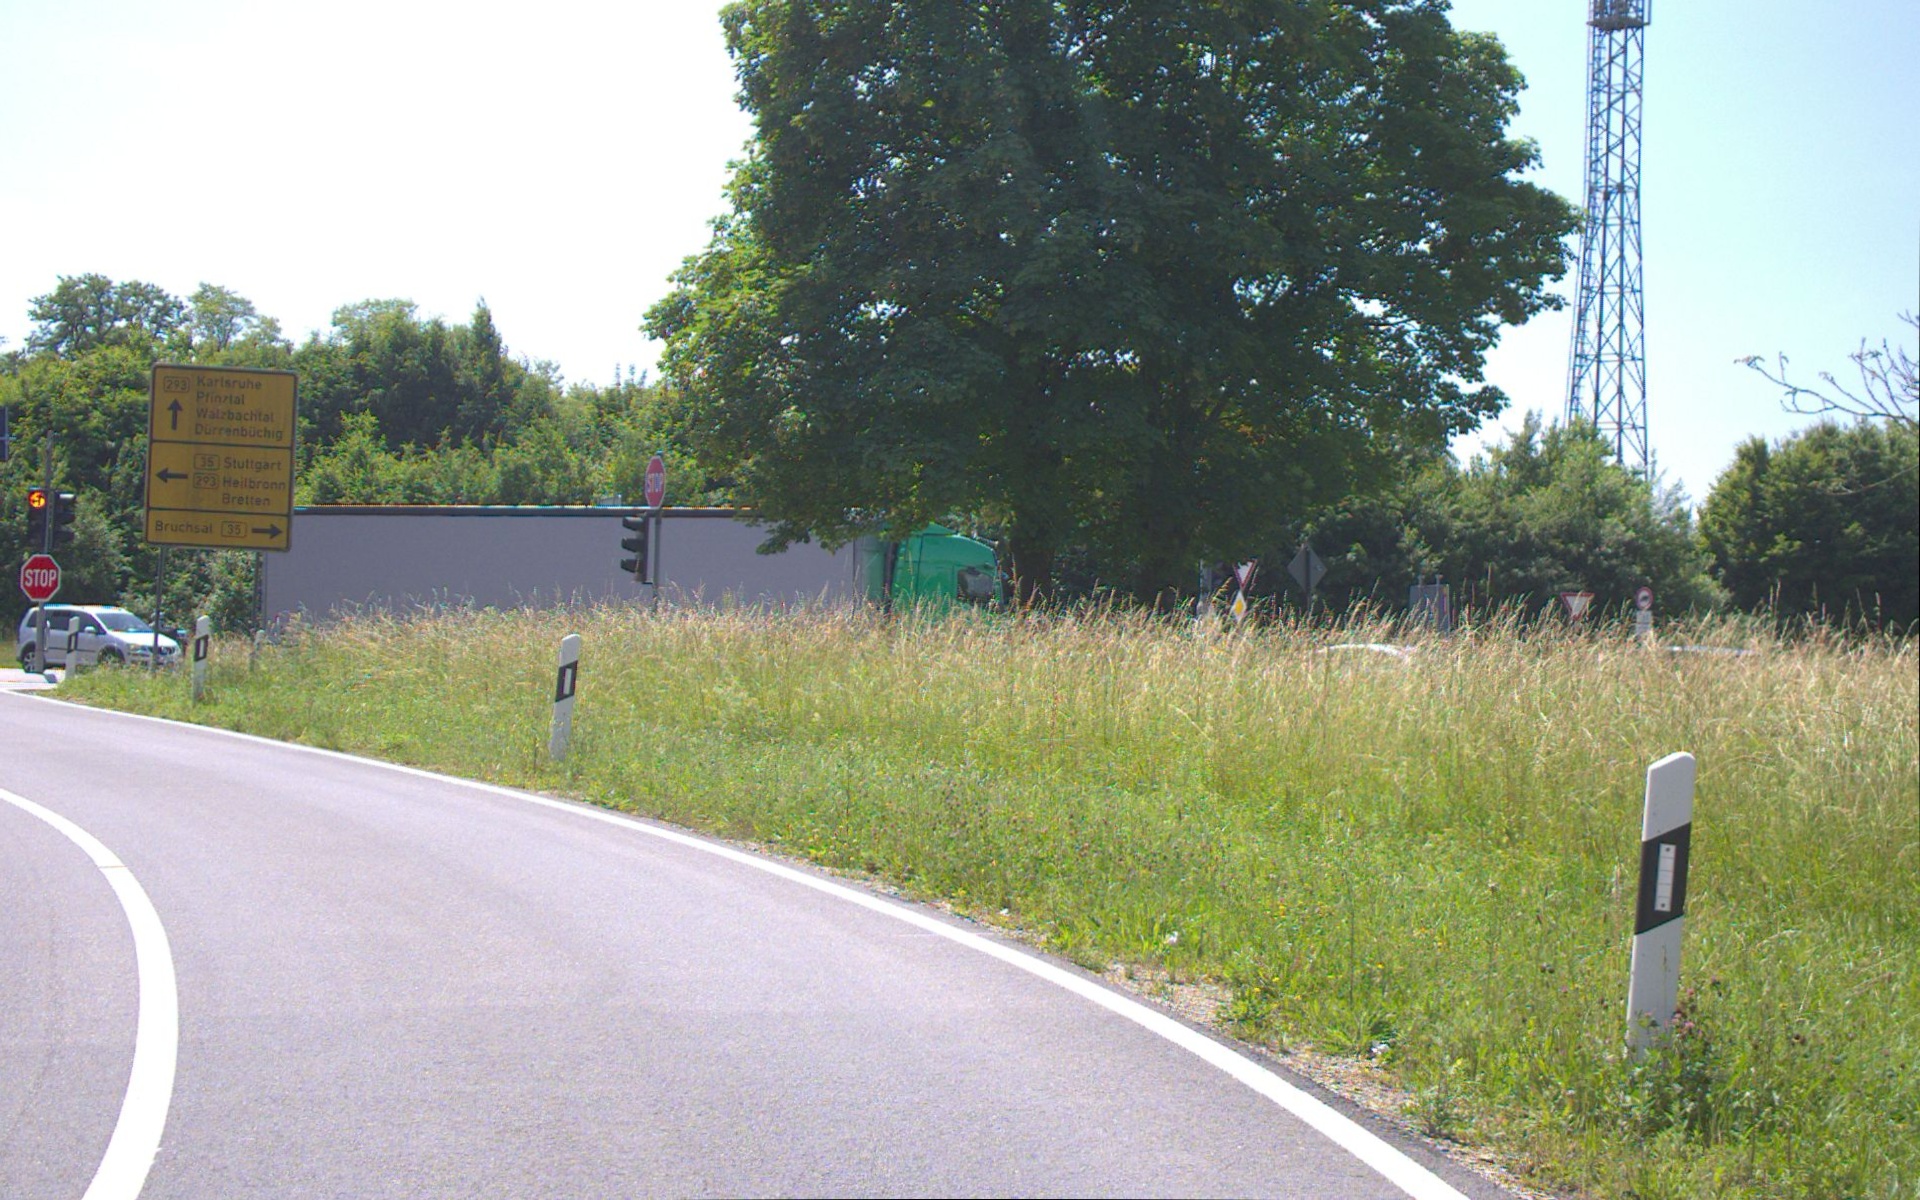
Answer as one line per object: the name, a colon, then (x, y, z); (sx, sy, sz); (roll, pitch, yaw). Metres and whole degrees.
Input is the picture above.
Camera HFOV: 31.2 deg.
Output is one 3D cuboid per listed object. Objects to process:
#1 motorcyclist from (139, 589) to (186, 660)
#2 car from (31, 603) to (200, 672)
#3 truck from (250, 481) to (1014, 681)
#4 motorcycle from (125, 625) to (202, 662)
motorcyclist: (-20.868, 0.646, 89.981); (0.897, 1.837, 0.838); (0, 0, 22)
car: (-19.818, 0.863, 80.651); (3.684, 1.570, 1.723); (0, 0, 30)
truck: (-7.303, -0.441, 76.317); (16.640, 4.159, 3.134); (1, -1, 12)
motorcycle: (-20.840, 1.132, 89.954); (1.869, 0.960, 0.730); (0, 0, 23)
